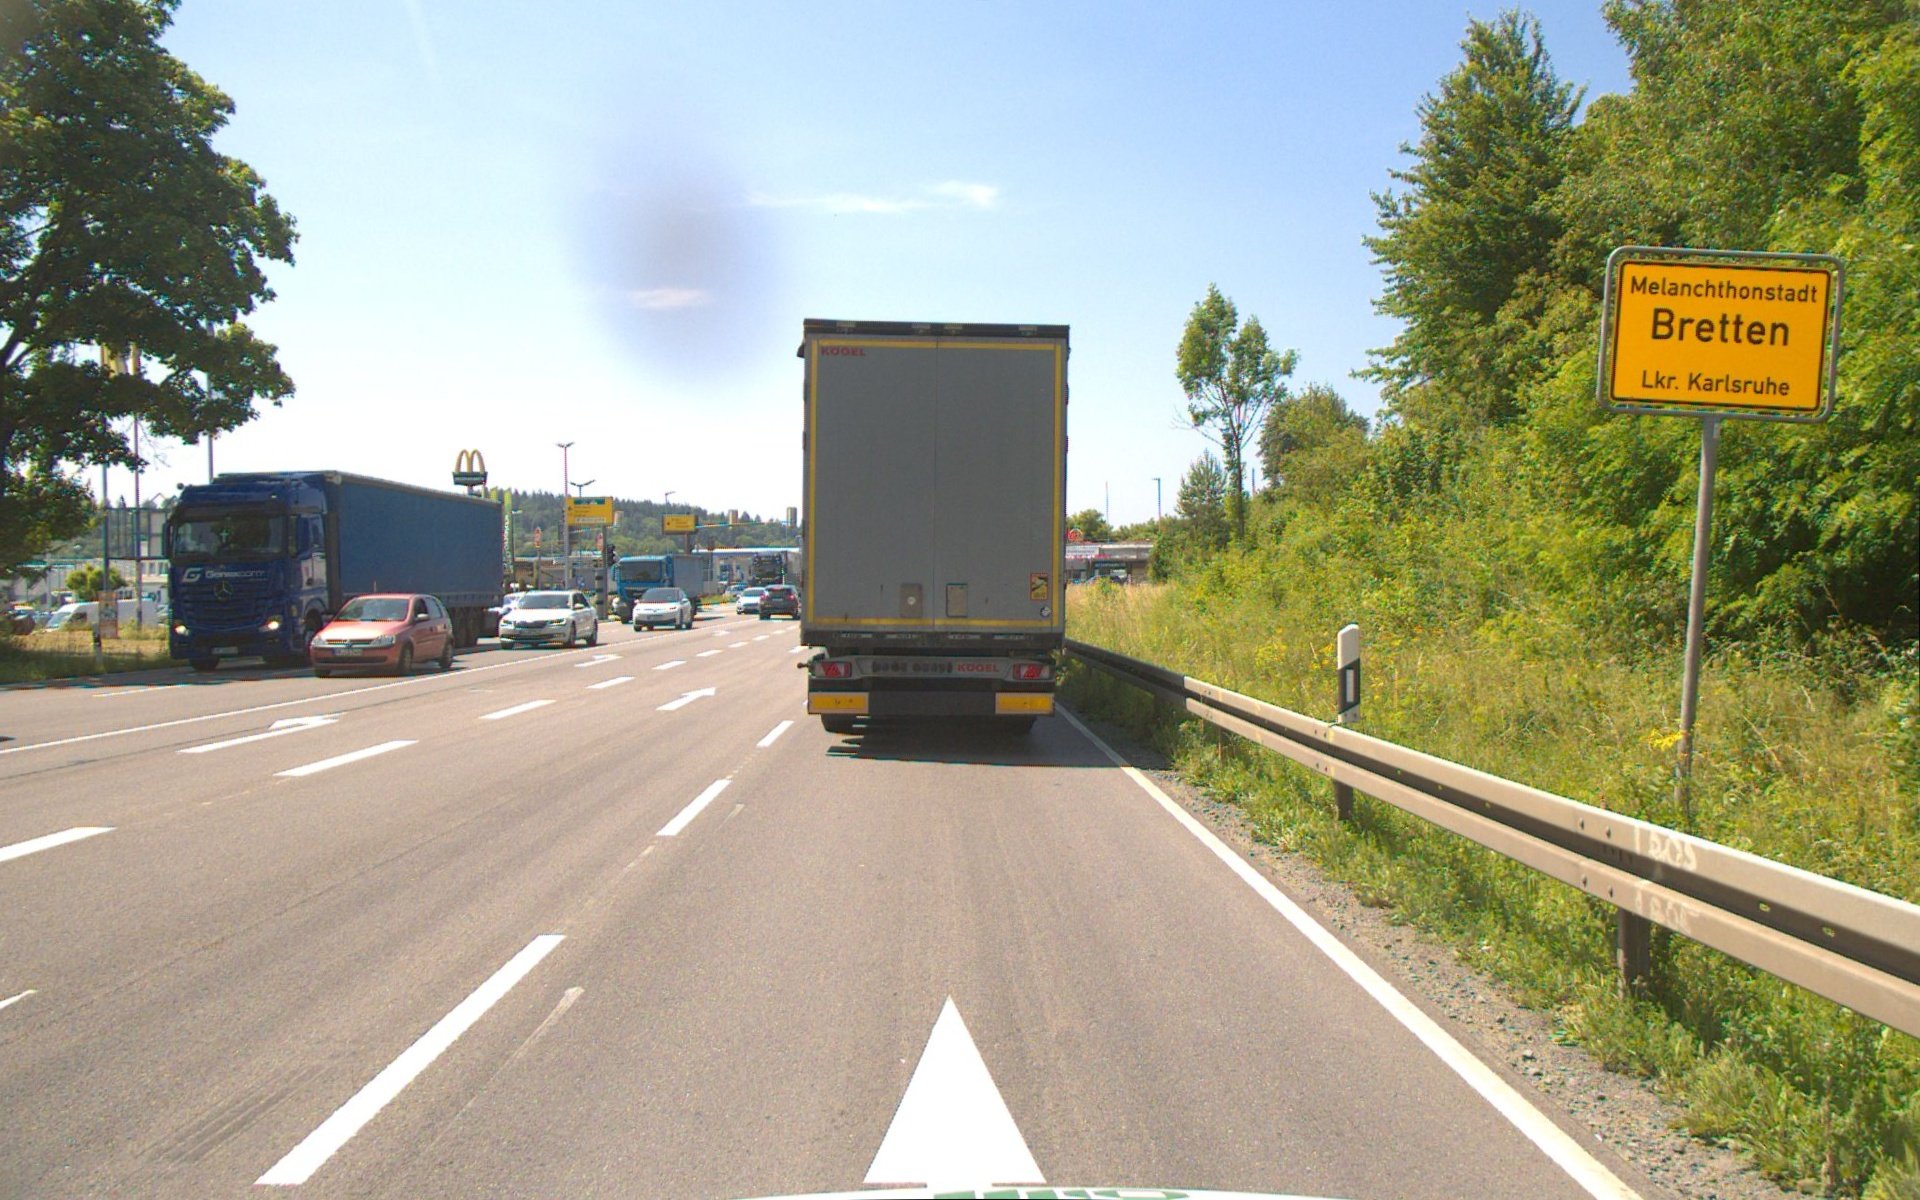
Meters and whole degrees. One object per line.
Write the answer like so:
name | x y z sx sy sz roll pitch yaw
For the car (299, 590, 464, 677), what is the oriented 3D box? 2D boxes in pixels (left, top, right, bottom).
car | -10.472 0.572 30.211 1.731 1.471 3.775 -1 0 -1

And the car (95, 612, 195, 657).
car | -30.848 1.284 62.561 3.921 1.646 1.832 0 0 37

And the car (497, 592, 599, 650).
car | -10.728 0.513 43.359 1.666 1.439 4.560 -1 0 -2

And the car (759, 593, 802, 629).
car | -8.547 0.497 79.141 1.758 1.655 4.367 -1 0 -3

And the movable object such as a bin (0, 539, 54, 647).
movable object such as a bin | -32.280 -0.177 51.275 2.996 3.356 6.757 -1 1 40

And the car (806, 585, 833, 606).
car | -10.883 -0.329 128.052 1.705 1.529 4.405 -2 -1 -1

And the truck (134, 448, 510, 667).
truck | -14.741 -0.856 40.679 2.907 4.250 16.572 -1 0 0

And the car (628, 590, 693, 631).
car | -11.279 0.380 62.464 1.725 1.453 4.179 -1 0 -1

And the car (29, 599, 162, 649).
car | -40.388 1.076 77.394 1.961 2.221 5.172 -1 0 37

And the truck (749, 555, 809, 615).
truck | -14.442 -1.223 133.334 3.082 4.425 17.540 -1 1 -1

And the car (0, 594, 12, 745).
car | -10.421 0.690 14.321 1.880 1.506 4.684 0 0 -3

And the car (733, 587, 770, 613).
car | -11.862 -0.022 94.214 1.753 1.451 4.261 0 0 -3

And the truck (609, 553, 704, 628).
truck | -14.880 -0.460 82.063 2.789 3.410 11.479 -1 0 -1

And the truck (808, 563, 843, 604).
truck | -14.001 -1.706 173.276 2.875 4.019 14.232 -1 0 -2

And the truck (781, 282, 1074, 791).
truck | -0.546 -0.503 23.735 2.700 4.720 16.648 0 -1 -2

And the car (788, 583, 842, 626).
car | -5.856 0.157 67.293 1.767 1.699 4.292 0 0 0

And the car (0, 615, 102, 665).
car | -32.801 1.412 59.459 3.921 1.680 1.992 0 0 37
